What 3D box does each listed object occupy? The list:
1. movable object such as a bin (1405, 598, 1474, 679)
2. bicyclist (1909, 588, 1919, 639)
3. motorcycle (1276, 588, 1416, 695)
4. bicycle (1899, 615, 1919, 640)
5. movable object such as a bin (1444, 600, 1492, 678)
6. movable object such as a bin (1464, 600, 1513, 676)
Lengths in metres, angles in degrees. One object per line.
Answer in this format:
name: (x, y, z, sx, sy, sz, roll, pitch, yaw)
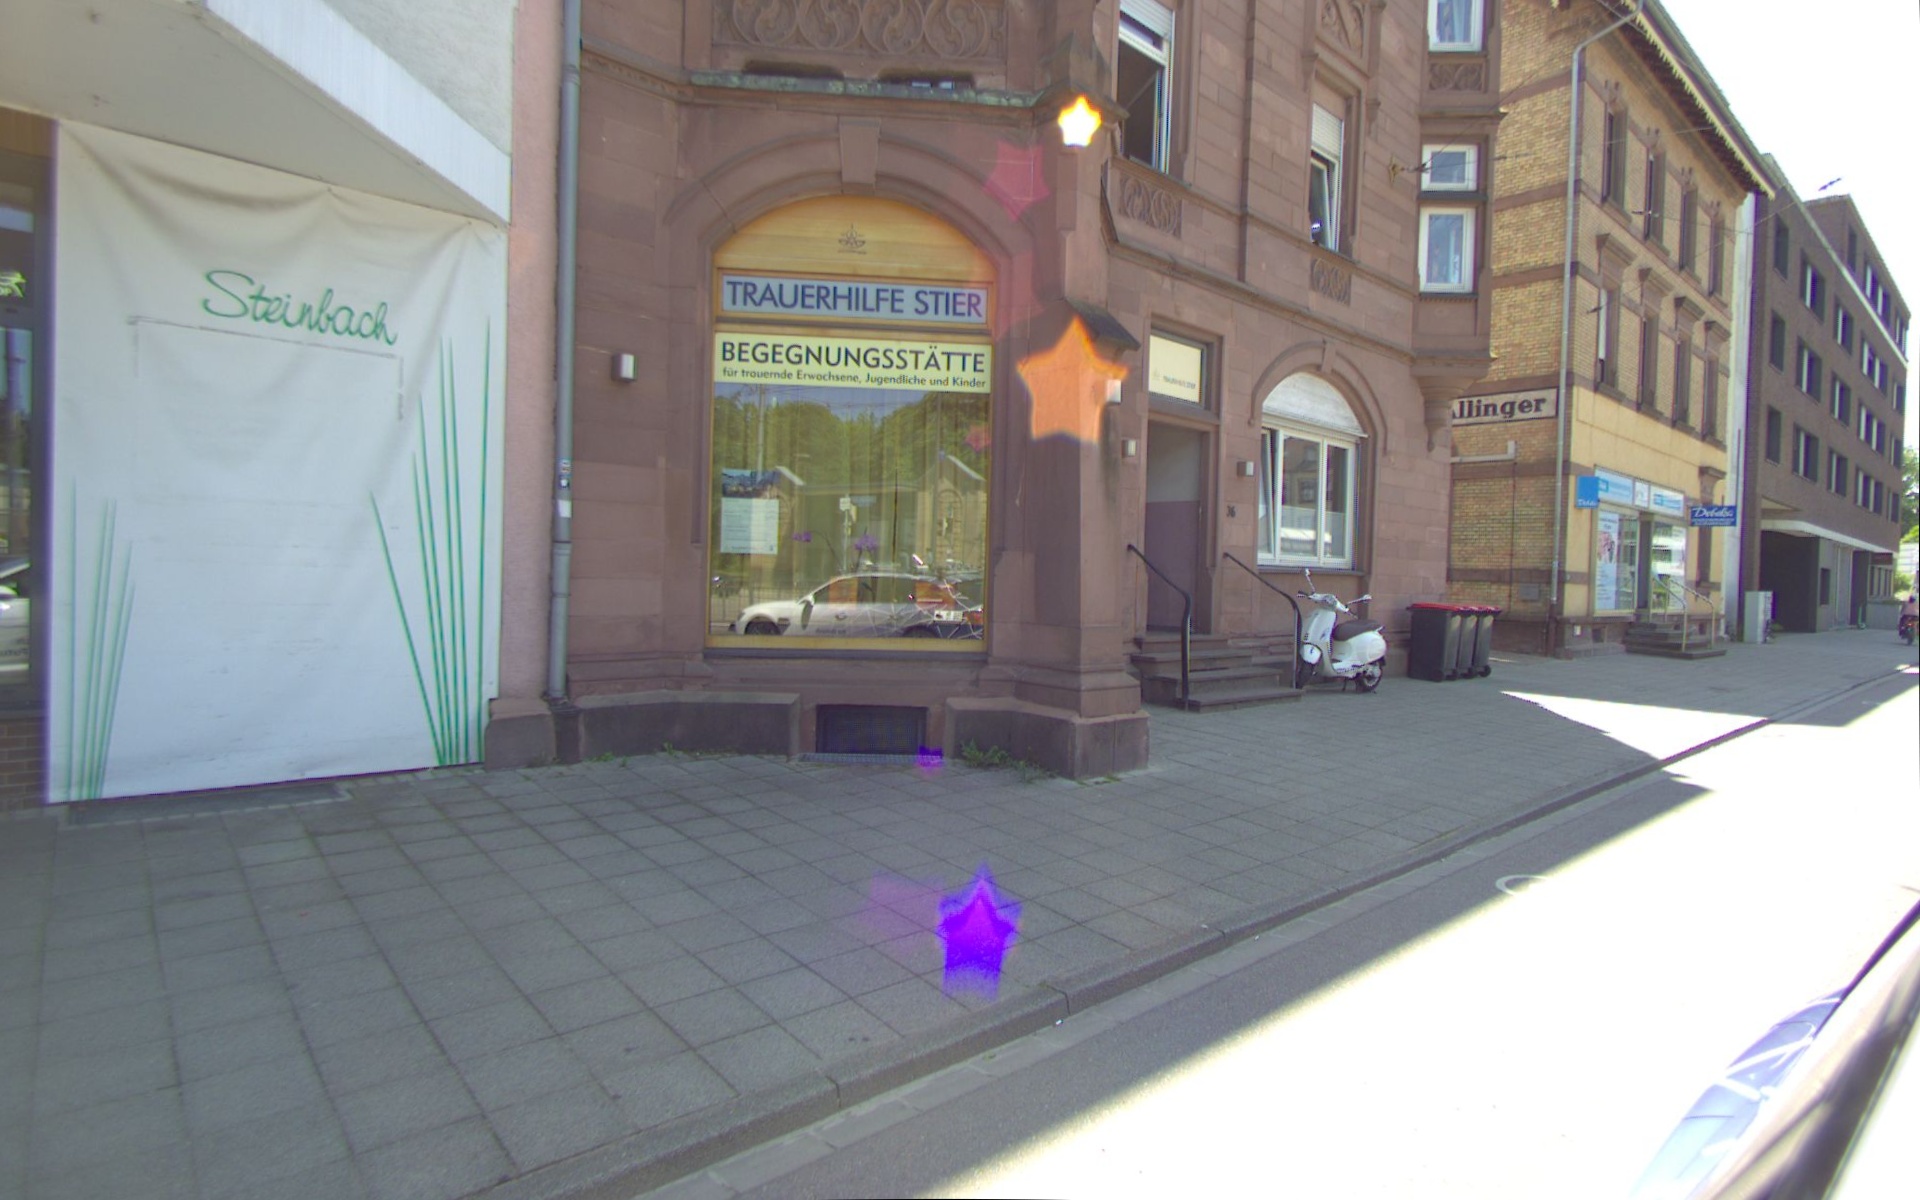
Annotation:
movable object such as a bin: (6.686, 0.521, 14.114, 0.549, 1.061, 0.649, 0, 4, -42)
bicyclist: (33.147, 0.480, 34.619, 0.909, 1.744, 0.673, 1, 1, -26)
motorcycle: (4.549, 0.458, 11.871, 1.843, 1.163, 0.529, 1, 1, -33)
bicycle: (32.964, 0.940, 34.542, 1.868, 0.807, 0.691, 1, 1, -25)
movable object such as a bin: (7.212, 0.547, 14.370, 0.549, 1.061, 0.376, 0, 4, -42)
movable object such as a bin: (7.684, 0.540, 14.713, 0.646, 1.061, 0.376, 0, 4, -42)
